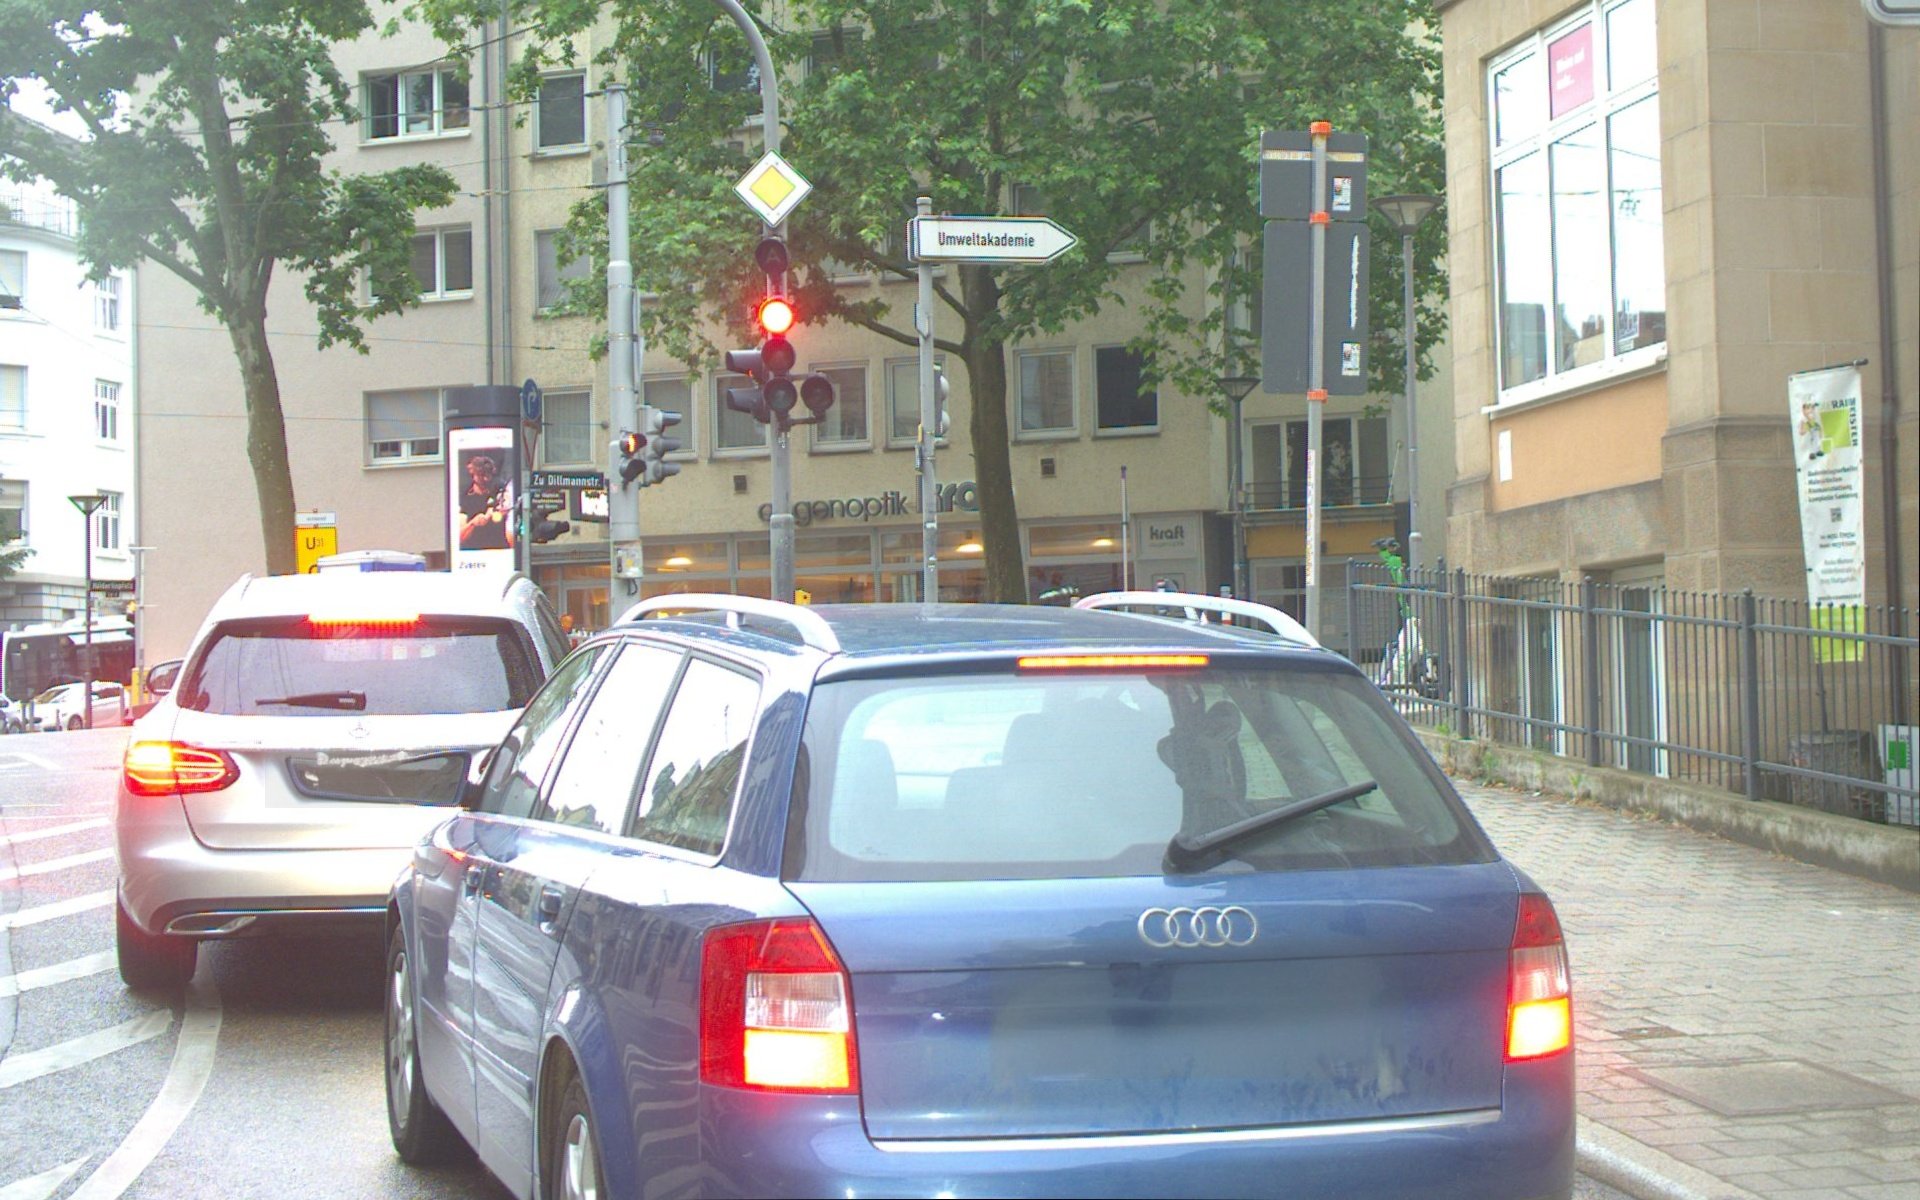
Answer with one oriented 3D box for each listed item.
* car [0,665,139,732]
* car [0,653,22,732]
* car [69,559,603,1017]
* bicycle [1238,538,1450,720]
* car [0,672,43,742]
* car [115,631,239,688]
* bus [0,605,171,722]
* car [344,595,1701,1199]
[{"bbox_3d":[-22.961,2.521,88.376,1.796,1.505,3.997,-1,1,17],"label":"car"},{"bbox_3d":[-20.005,1.924,67.999,1.794,1.505,4.000,-4,1,-1],"label":"car"},{"bbox_3d":[-2.257,0.584,12.942,1.710,1.451,3.554,0,1,-8],"label":"car"},{"bbox_3d":[2.647,0.191,23.748,1.300,1.169,0.526,-3,1,-12],"label":"bicycle"},{"bbox_3d":[-24.138,2.649,83.298,1.796,1.609,3.997,-1,1,17],"label":"car"},{"bbox_3d":[-23.217,1.742,102.043,1.796,1.505,3.997,-1,1,17],"label":"car"},{"bbox_3d":[-25.062,1.686,94.472,2.856,2.851,8.728,-1,1,14],"label":"bus"},{"bbox_3d":[-0.203,0.732,7.242,1.710,1.410,4.037,0,1,-17],"label":"car"}]
